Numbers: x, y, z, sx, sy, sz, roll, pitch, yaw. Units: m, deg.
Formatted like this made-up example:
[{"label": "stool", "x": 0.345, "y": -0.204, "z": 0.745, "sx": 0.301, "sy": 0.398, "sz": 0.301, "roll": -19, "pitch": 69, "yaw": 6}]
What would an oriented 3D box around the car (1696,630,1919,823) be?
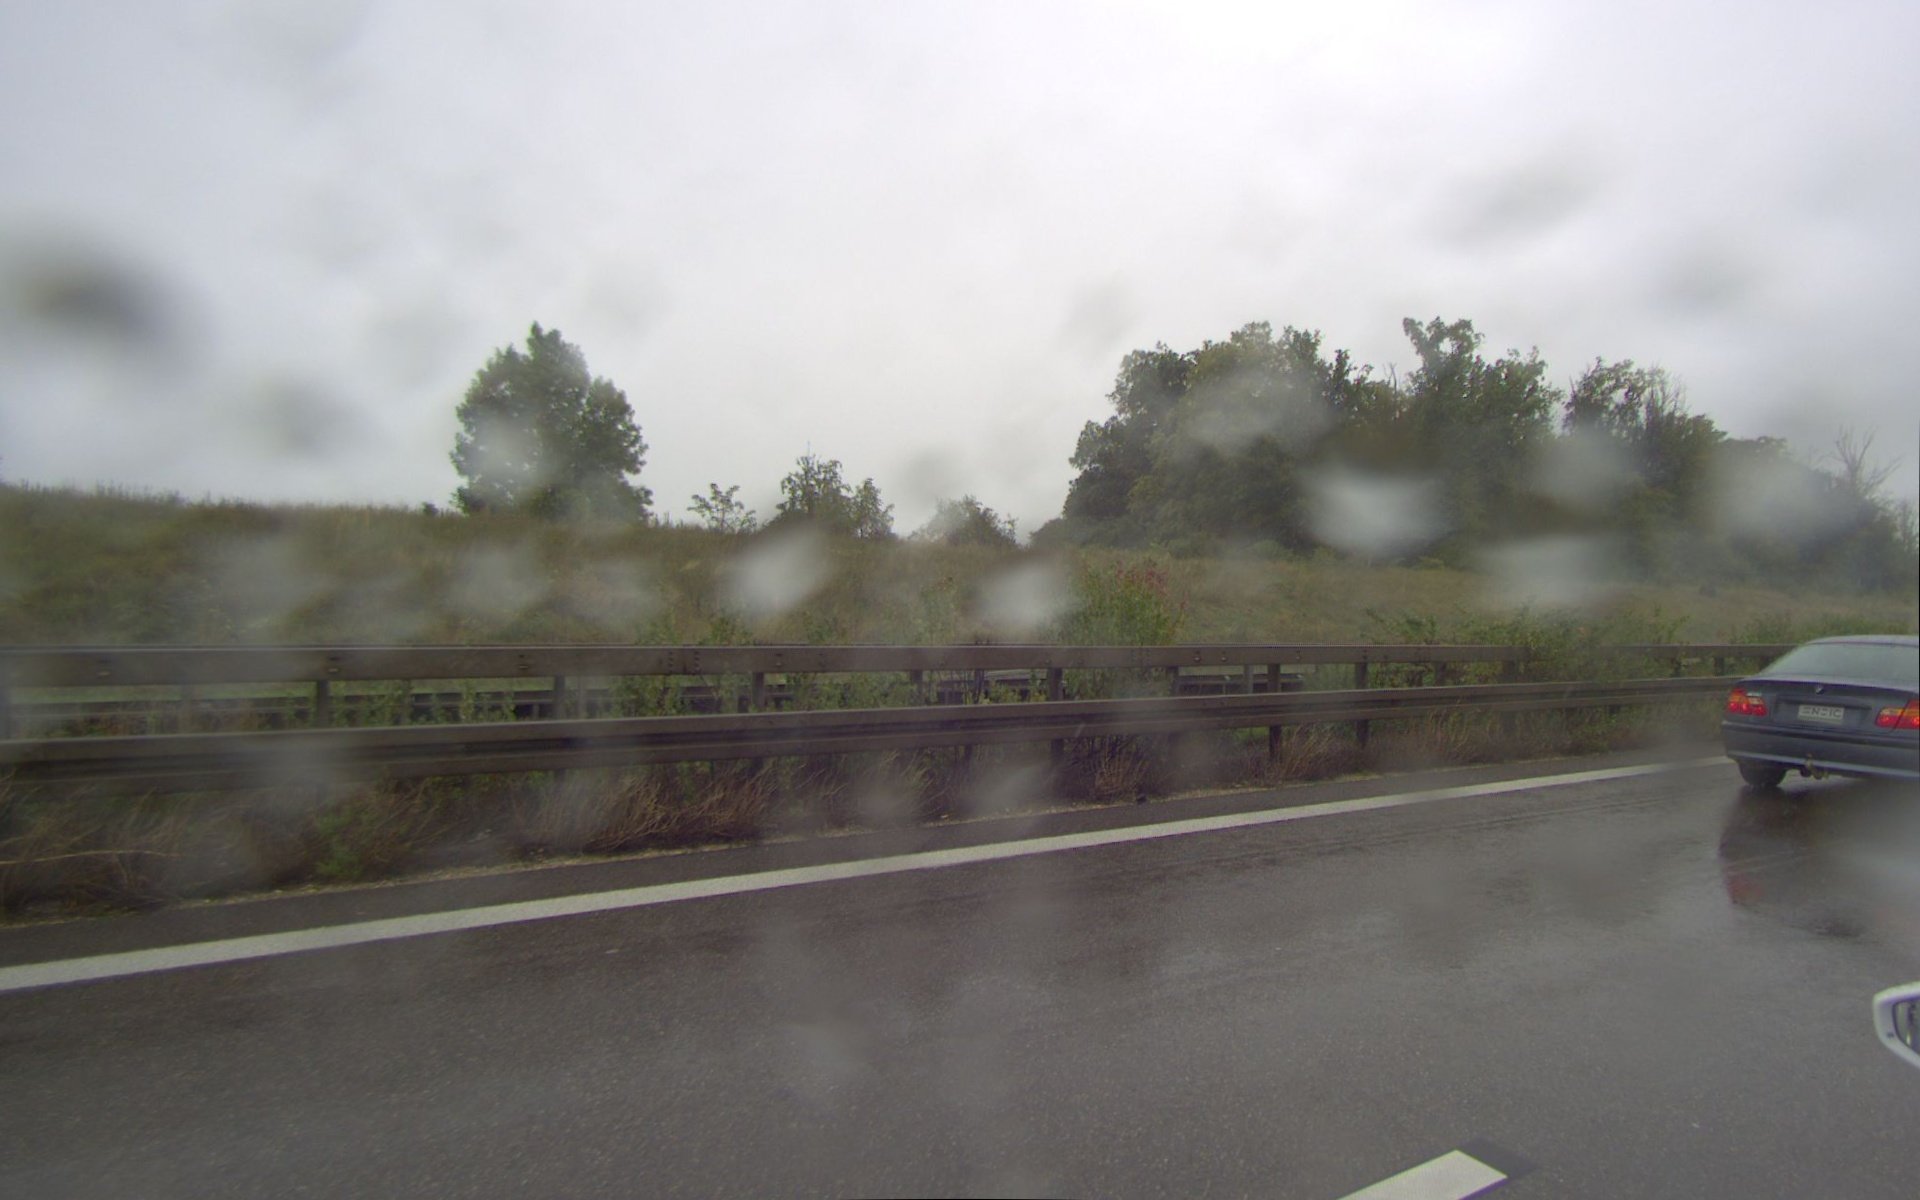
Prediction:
[{"label": "car", "x": 8.786, "y": 1.025, "z": 9.196, "sx": 4.178, "sy": 1.418, "sz": 1.711, "roll": 2, "pitch": -1, "yaw": -29}]
